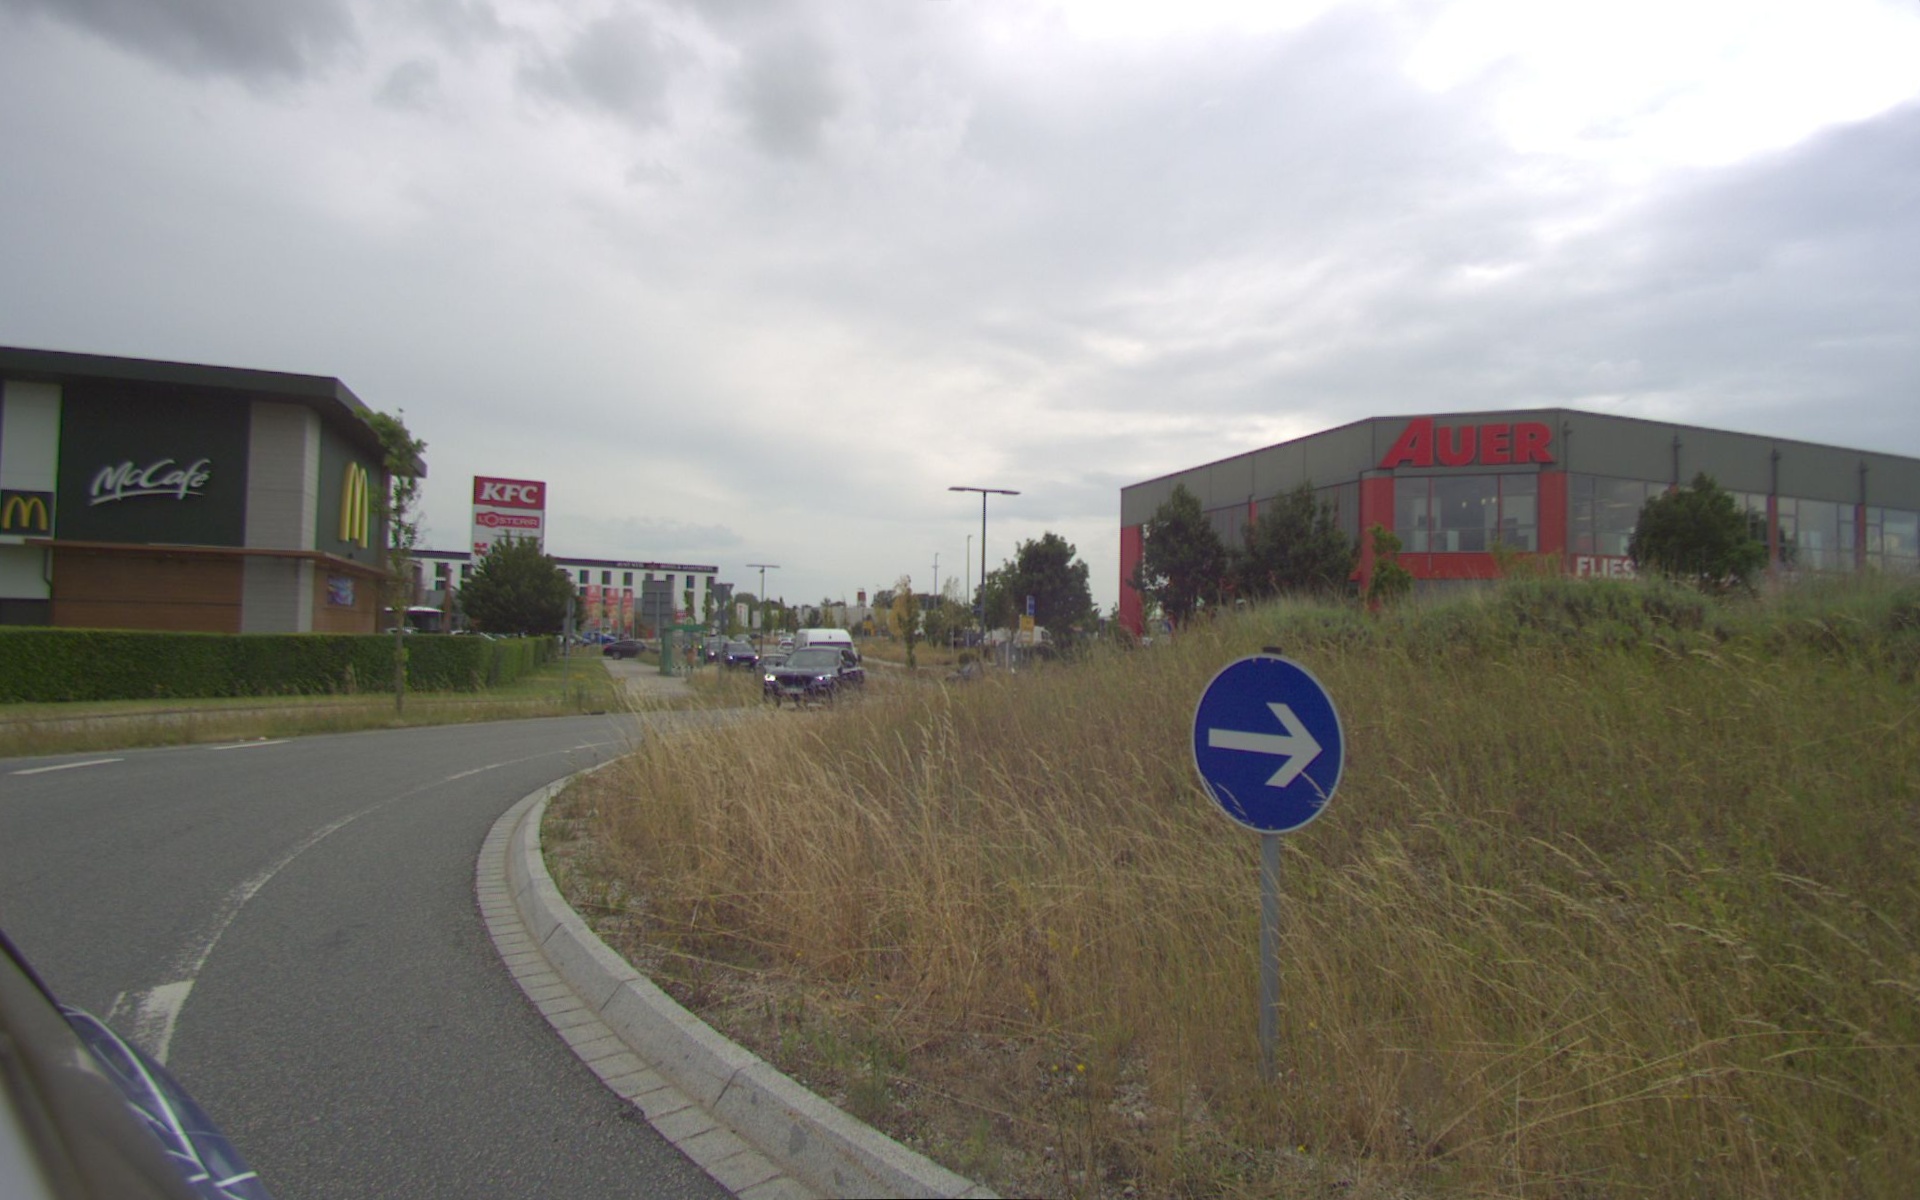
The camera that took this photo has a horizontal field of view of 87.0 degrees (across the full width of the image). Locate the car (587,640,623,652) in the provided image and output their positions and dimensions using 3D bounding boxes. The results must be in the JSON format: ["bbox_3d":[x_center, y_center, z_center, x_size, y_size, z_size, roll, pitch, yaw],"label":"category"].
[{"bbox_3d":[-44.082,5.724,125.688,3.940,1.497,1.848,0,-1,-3],"label":"car"}]

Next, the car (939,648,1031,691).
[{"bbox_3d":[1.002,2.929,43.538,1.966,1.620,4.310,0,-1,-31],"label":"car"}]

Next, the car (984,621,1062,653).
[{"bbox_3d":[5.441,3.140,87.241,6.310,2.644,2.071,0,-1,-16],"label":"car"}]

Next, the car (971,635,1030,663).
[{"bbox_3d":[3.673,4.395,91.853,4.970,2.391,2.071,0,-1,-20],"label":"car"}]

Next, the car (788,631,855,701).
[{"bbox_3d":[-5.632,2.566,40.461,1.993,2.547,6.121,2,-2,-14],"label":"car"}]

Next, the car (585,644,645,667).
[{"bbox_3d":[-24.893,3.994,73.035,3.930,1.497,1.853,0,-1,-24],"label":"car"}]

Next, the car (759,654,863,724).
[{"bbox_3d":[-3.817,2.262,26.620,1.845,1.620,3.994,1,-2,4],"label":"car"}]

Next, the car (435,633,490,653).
[{"bbox_3d":[-40.568,3.480,82.605,3.930,1.497,1.853,0,-1,-24],"label":"car"}]

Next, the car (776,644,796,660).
[{"bbox_3d":[-15.778,4.735,92.088,1.700,1.419,4.652,2,-4,-9],"label":"car"}]

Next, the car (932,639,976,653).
[{"bbox_3d":[-0.720,5.572,123.096,4.975,1.669,2.069,1,-2,-10],"label":"car"}]

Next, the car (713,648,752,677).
[{"bbox_3d":[-13.756,3.732,61.025,1.836,1.620,4.012,2,-2,-19],"label":"car"}]

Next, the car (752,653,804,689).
[{"bbox_3d":[-8.891,3.427,49.303,1.836,1.620,4.012,2,-2,-19],"label":"car"}]
